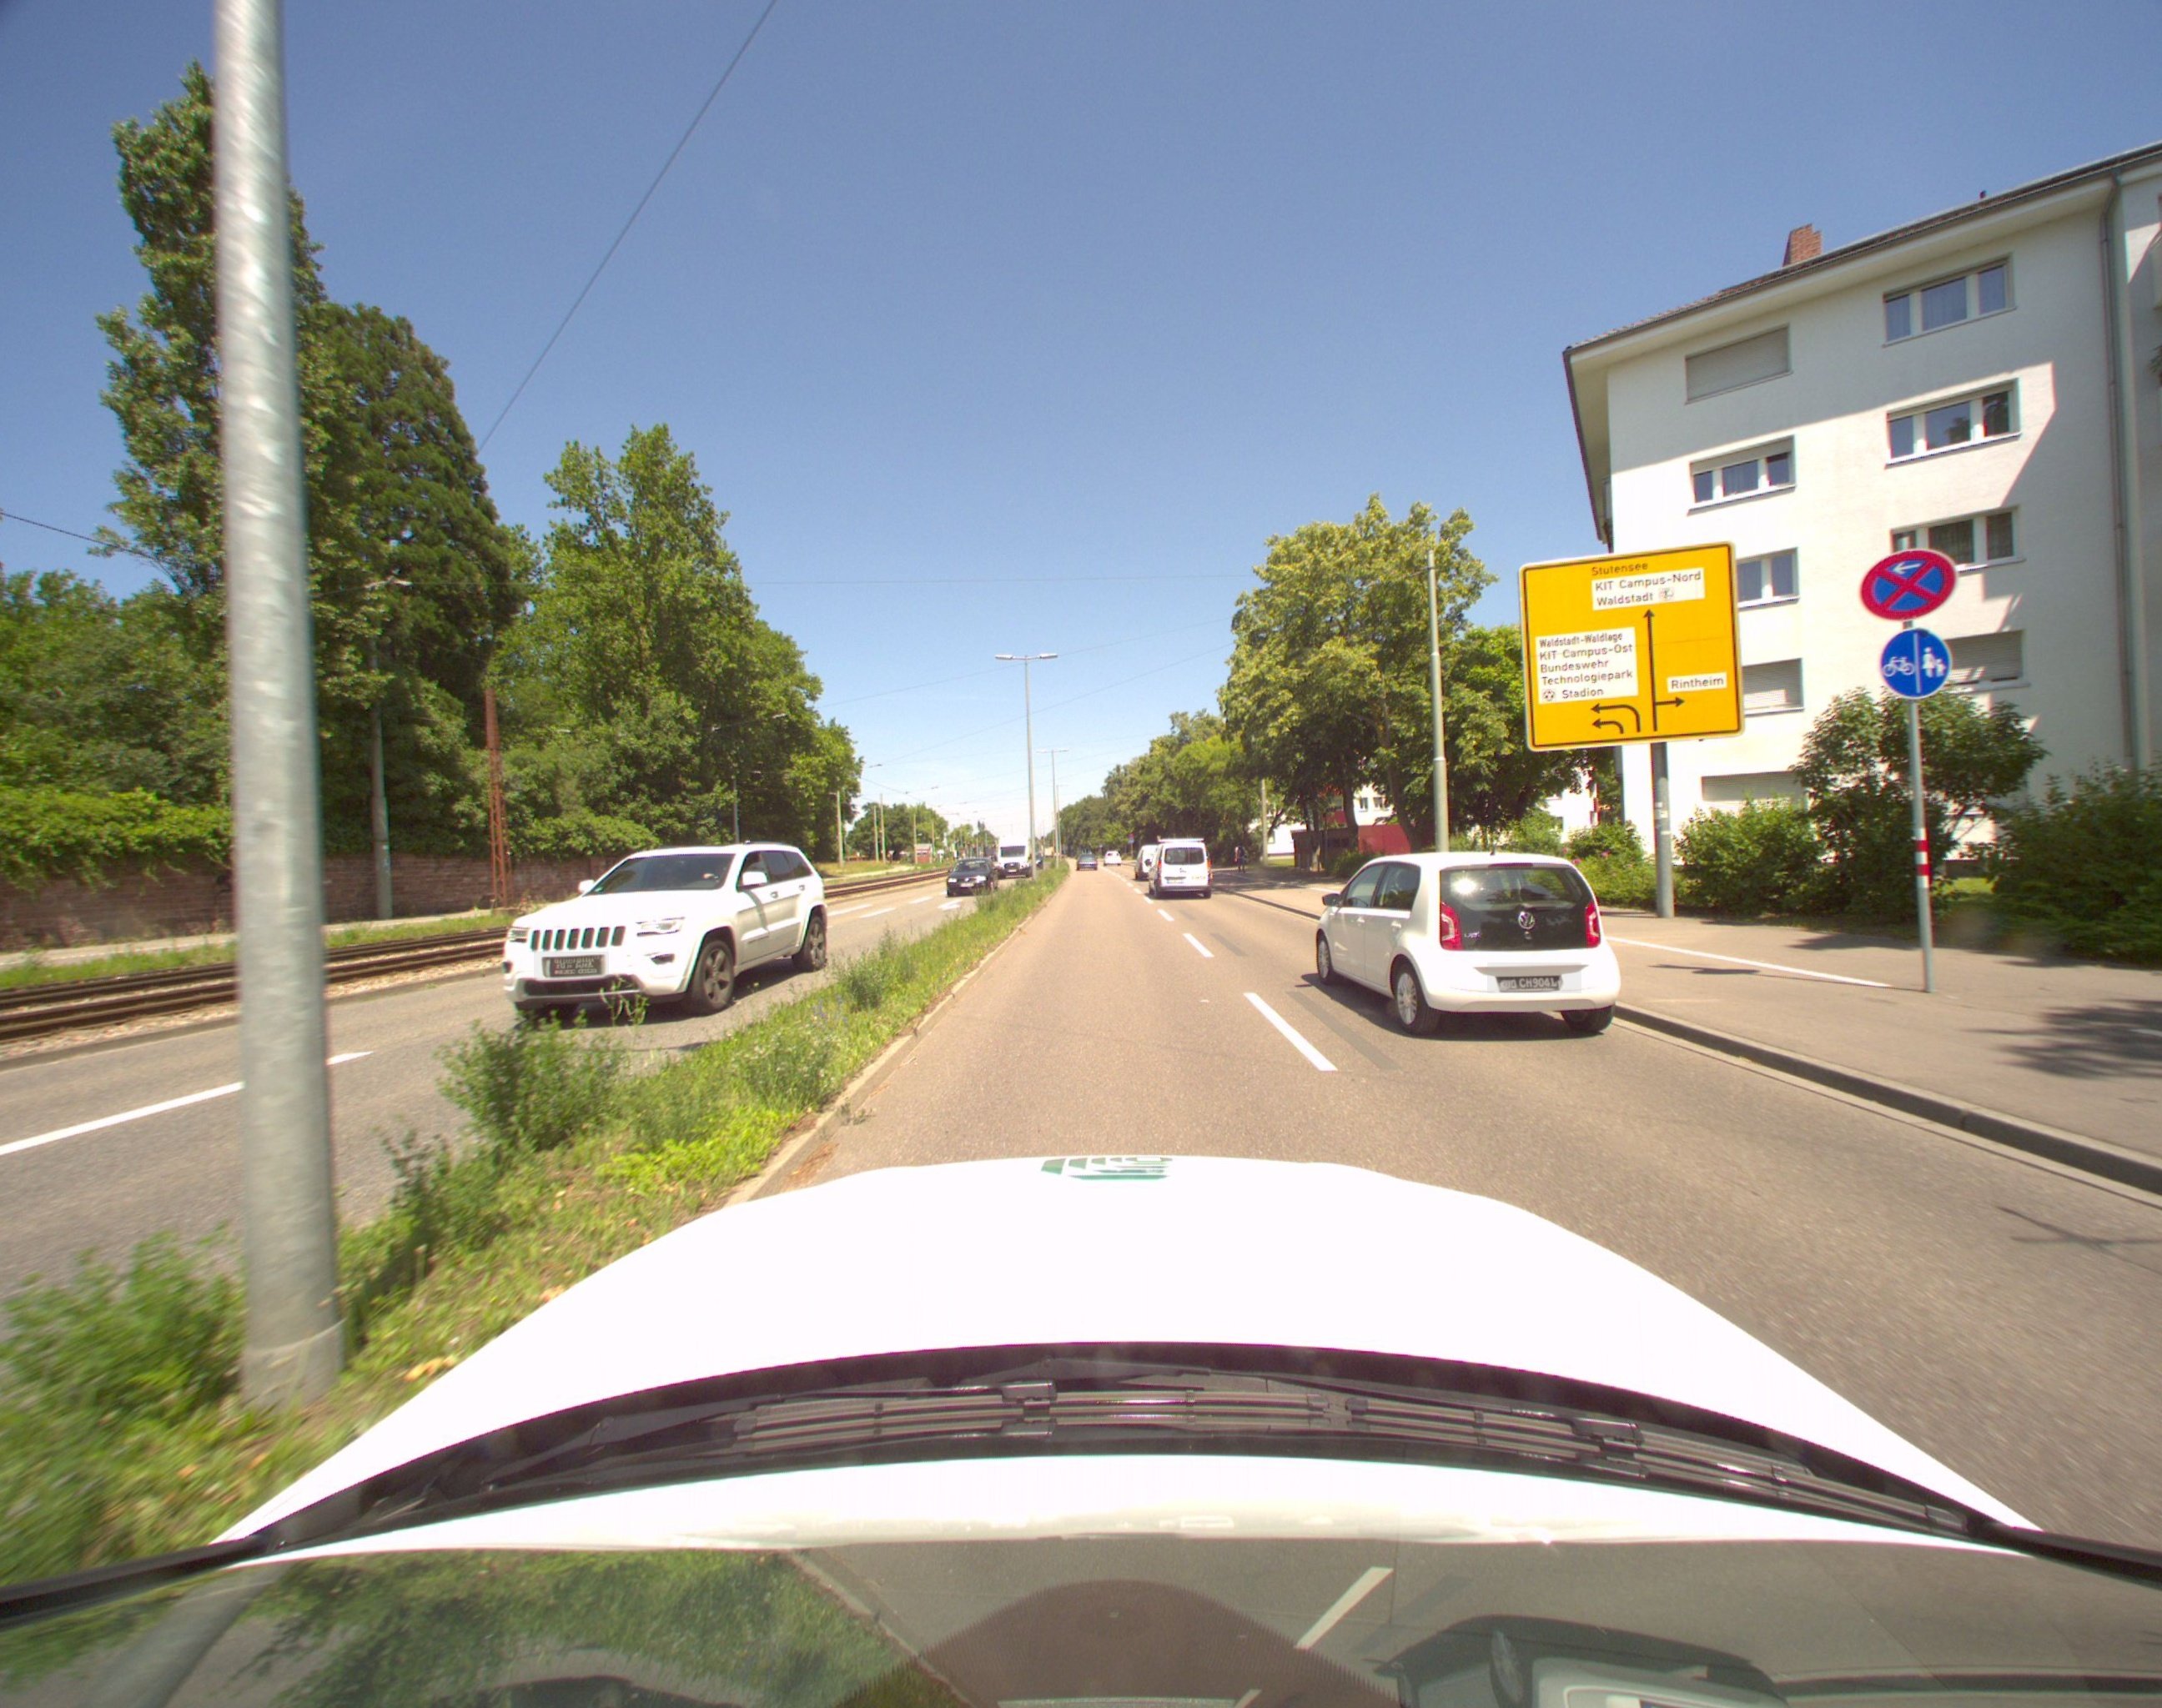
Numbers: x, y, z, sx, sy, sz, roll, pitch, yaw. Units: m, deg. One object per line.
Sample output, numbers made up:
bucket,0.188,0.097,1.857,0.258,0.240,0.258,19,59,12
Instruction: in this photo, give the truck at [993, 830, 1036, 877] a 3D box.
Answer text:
truck,-4.180,-0.062,52.290,2.074,2.748,5.547,-4,1,0

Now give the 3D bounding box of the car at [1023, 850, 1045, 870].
car,-4.594,0.591,79.986,1.824,1.756,4.485,-4,0,-1

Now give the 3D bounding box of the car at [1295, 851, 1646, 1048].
car,3.464,0.720,8.105,1.653,1.449,3.854,-1,0,0

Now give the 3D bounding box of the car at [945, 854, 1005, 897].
car,-4.121,0.781,32.171,1.710,1.458,3.914,-3,1,0

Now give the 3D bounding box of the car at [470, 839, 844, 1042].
car,-4.563,0.773,9.776,1.893,1.748,4.589,-4,0,1

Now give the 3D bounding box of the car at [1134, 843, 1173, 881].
car,3.688,0.362,42.005,1.722,1.813,4.001,-1,1,1

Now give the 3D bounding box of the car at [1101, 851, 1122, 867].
car,3.201,0.512,86.760,1.800,1.540,3.994,-2,0,-4

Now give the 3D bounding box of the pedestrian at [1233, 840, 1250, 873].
pedestrian,8.342,0.125,42.276,0.666,1.643,0.856,-2,0,-1

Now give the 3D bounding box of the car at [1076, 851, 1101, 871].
car,0.585,0.564,67.520,1.798,1.486,3.995,-2,0,-3

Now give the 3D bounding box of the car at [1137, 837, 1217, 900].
car,3.063,0.432,26.953,1.821,1.882,4.449,-1,0,-4

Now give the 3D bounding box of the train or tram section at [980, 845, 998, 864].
train or tram section,-20.085,0.151,179.517,2.783,3.668,37.453,-2,0,-5
